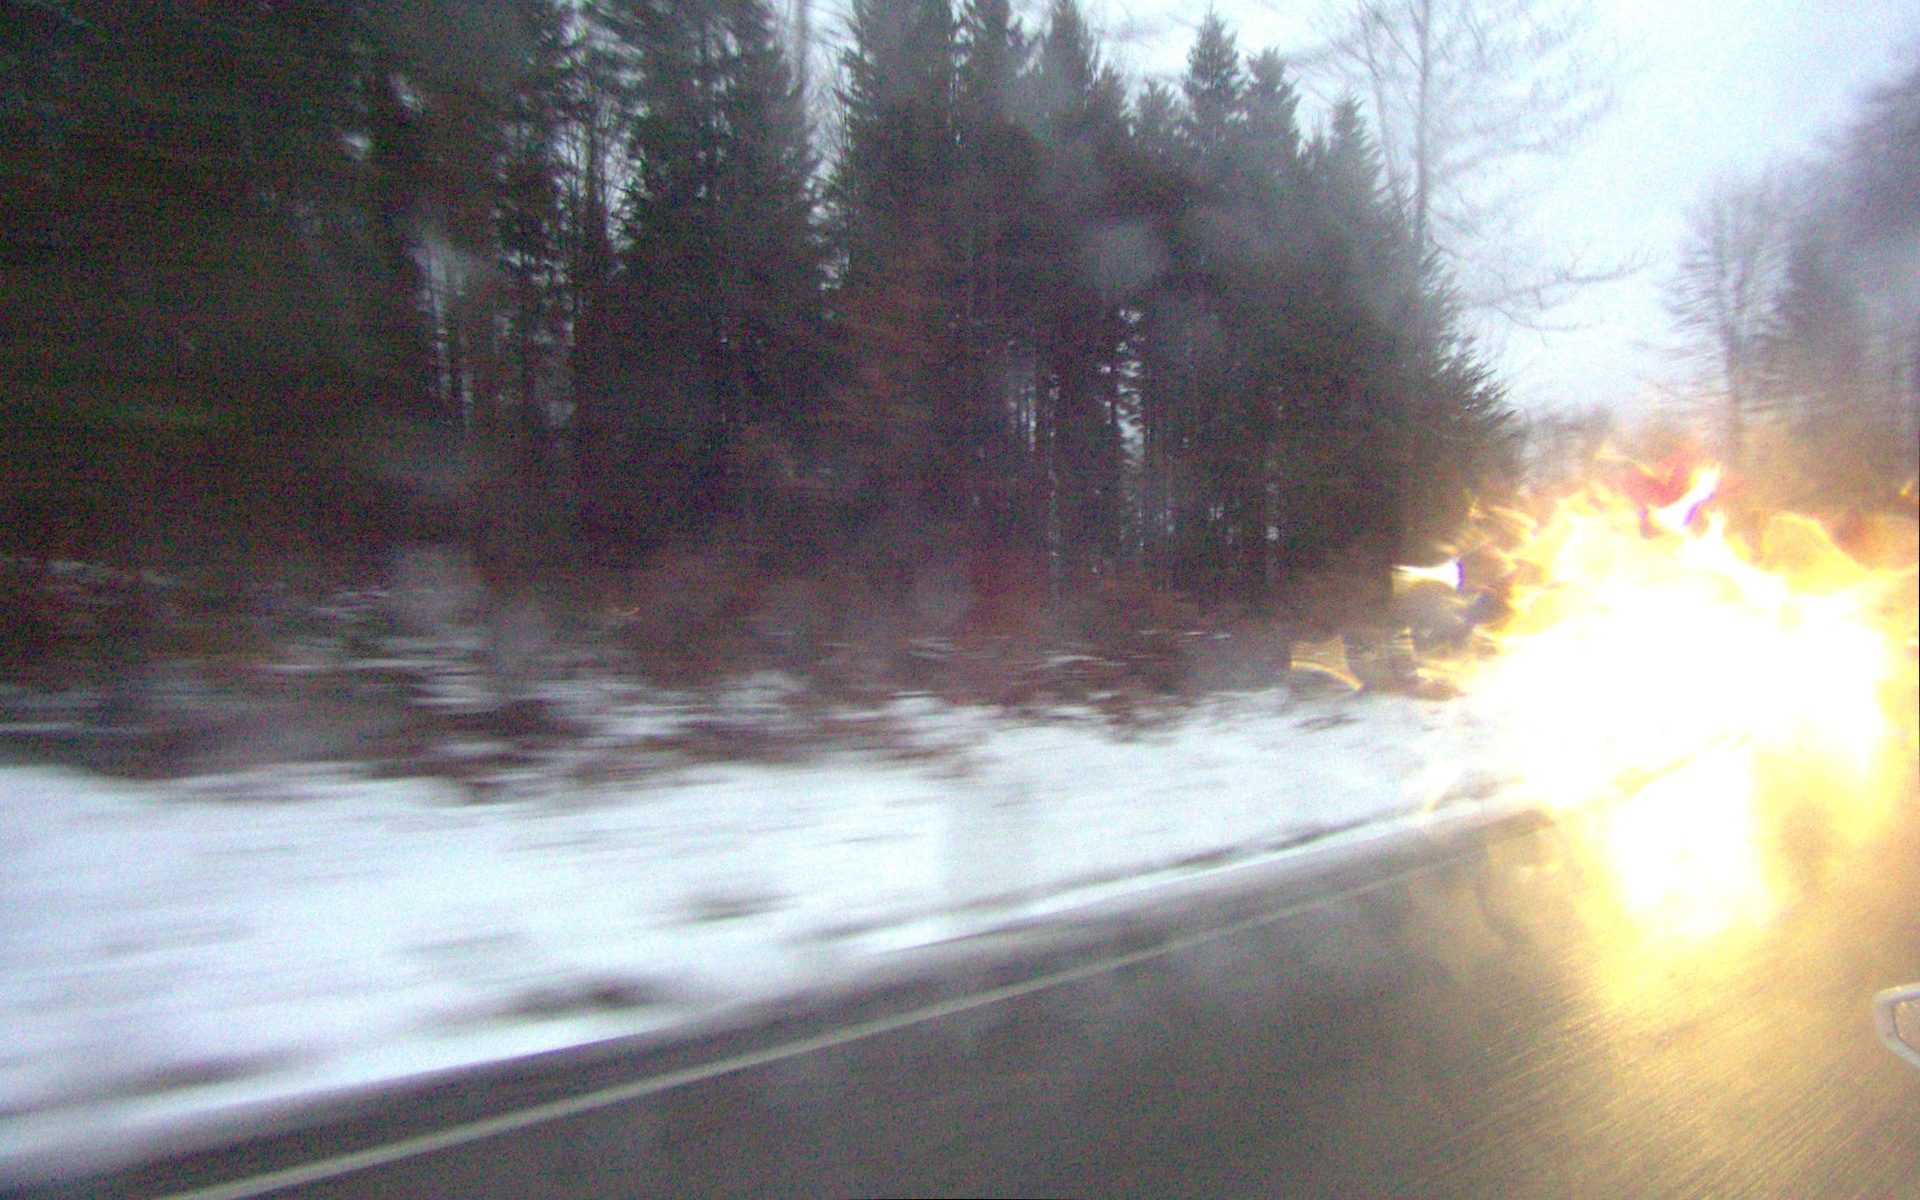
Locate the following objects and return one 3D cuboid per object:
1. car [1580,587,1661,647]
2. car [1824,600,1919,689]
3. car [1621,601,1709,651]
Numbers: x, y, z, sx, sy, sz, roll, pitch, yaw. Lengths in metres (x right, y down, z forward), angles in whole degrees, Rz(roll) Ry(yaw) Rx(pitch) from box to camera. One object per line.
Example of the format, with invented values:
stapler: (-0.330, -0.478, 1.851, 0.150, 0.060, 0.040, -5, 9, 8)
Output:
car: (31.260, 0.817, 47.712, 2.216, 2.680, 5.005, -1, -1, 22)
car: (23.048, 1.111, 25.214, 1.970, 2.078, 3.981, -2, -3, 40)
car: (23.454, 0.841, 33.587, 1.747, 1.512, 4.542, -2, -1, 27)
